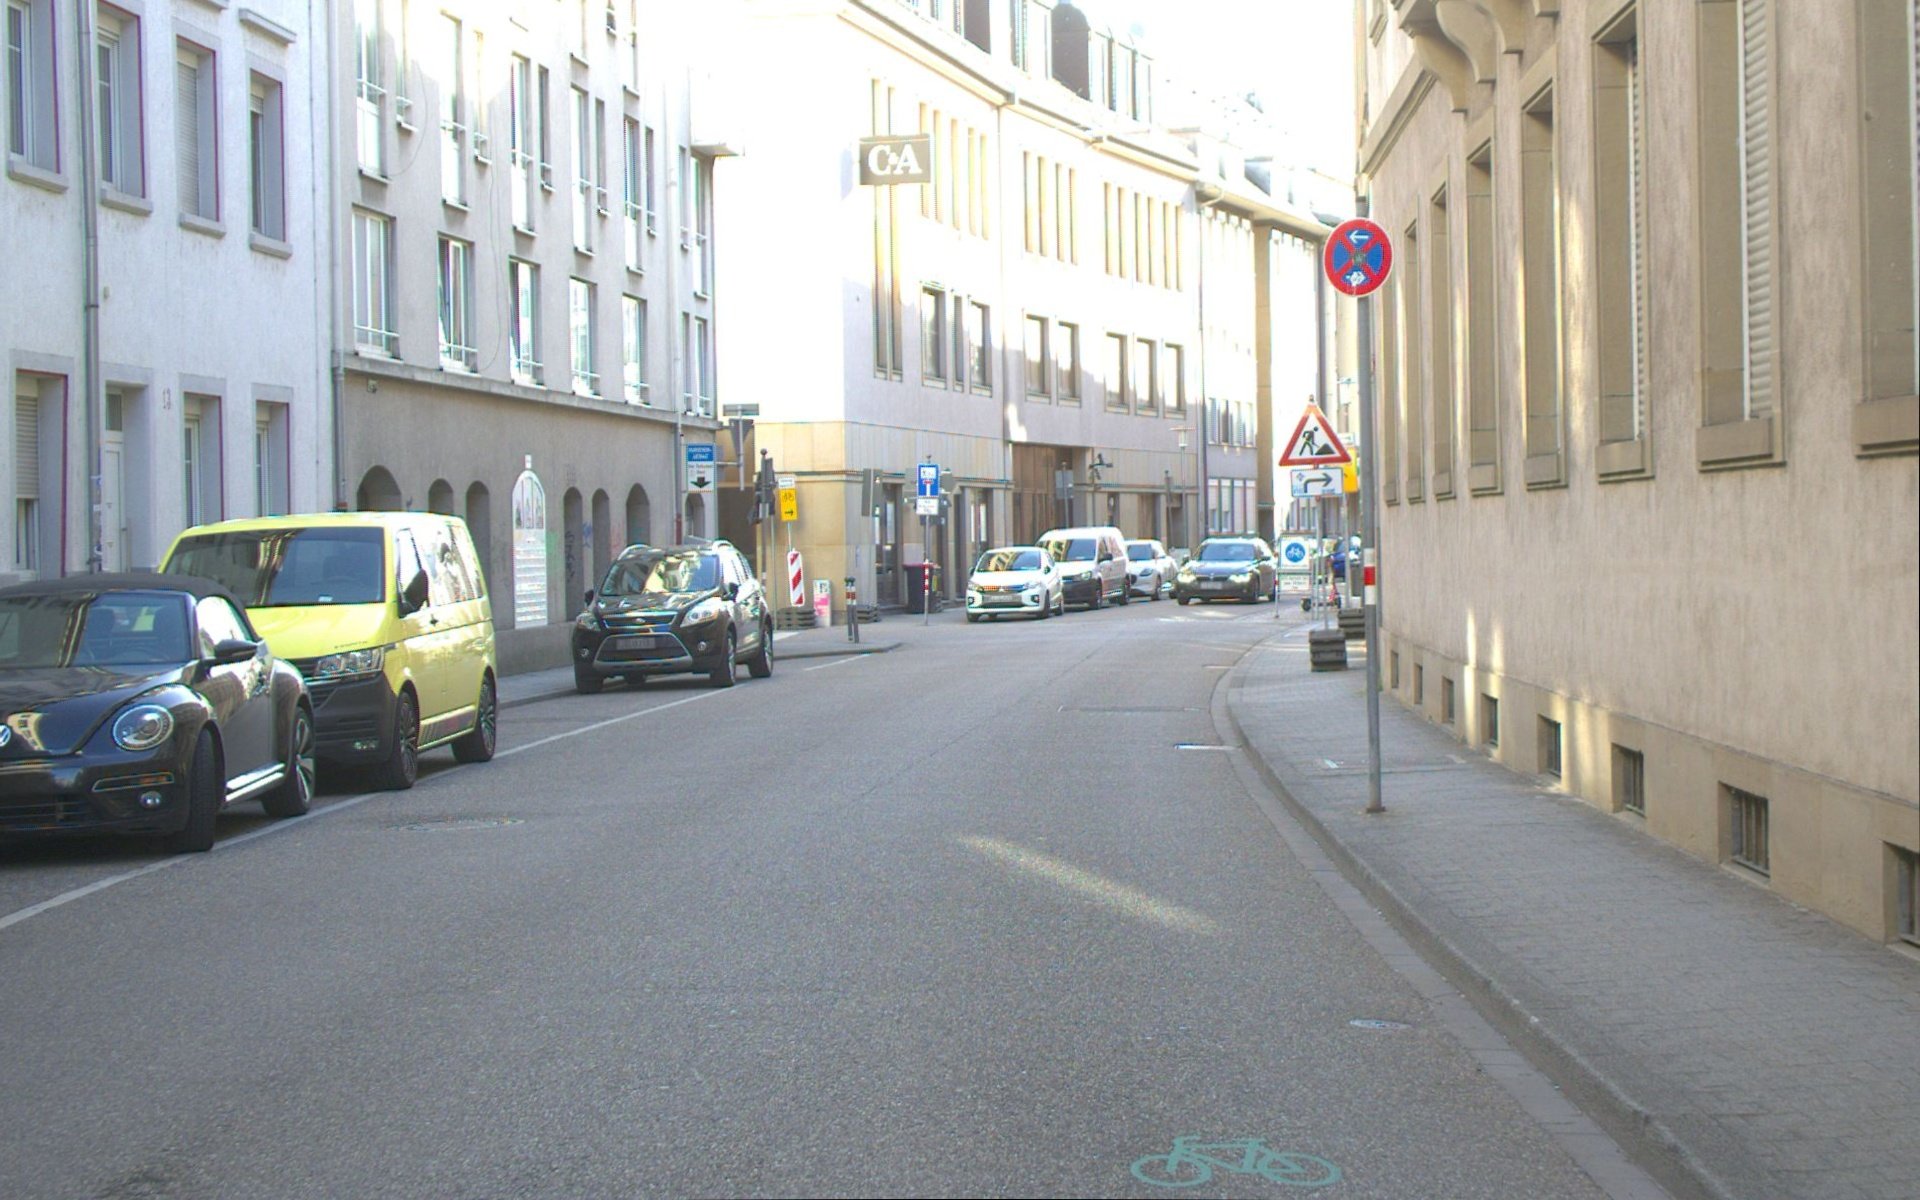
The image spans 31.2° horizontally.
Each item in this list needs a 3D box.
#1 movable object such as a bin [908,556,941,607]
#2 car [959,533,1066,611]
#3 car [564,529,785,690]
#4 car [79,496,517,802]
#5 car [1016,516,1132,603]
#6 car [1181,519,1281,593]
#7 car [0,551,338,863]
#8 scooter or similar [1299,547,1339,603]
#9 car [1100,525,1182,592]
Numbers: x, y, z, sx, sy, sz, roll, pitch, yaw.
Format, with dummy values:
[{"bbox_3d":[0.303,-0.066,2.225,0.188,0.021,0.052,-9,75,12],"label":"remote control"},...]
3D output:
[{"bbox_3d":[-0.756,-0.401,72.720,0.609,1.057,0.713,1,1,5],"label":"movable object such as a bin"},{"bbox_3d":[1.121,-0.603,71.280,1.671,1.501,3.793,-2,1,8],"label":"car"},{"bbox_3d":[-3.339,0.066,40.931,1.740,1.705,4.190,-3,1,7],"label":"car"},{"bbox_3d":[-4.572,0.268,24.537,1.880,1.860,4.864,-3,1,3],"label":"car"},{"bbox_3d":[2.588,-0.941,76.986,1.671,1.812,4.549,-2,1,13],"label":"car"},{"bbox_3d":[6.028,-0.988,76.815,1.714,1.572,4.191,-1,1,-2],"label":"car"},{"bbox_3d":[-4.795,0.530,19.093,1.819,1.481,4.077,-4,1,1],"label":"car"},{"bbox_3d":[7.484,-0.521,71.620,0.771,1.132,0.269,2,1,11],"label":"scooter or similar"},{"bbox_3d":[4.376,-1.018,82.975,1.272,1.501,3.399,-2,1,14],"label":"car"}]
